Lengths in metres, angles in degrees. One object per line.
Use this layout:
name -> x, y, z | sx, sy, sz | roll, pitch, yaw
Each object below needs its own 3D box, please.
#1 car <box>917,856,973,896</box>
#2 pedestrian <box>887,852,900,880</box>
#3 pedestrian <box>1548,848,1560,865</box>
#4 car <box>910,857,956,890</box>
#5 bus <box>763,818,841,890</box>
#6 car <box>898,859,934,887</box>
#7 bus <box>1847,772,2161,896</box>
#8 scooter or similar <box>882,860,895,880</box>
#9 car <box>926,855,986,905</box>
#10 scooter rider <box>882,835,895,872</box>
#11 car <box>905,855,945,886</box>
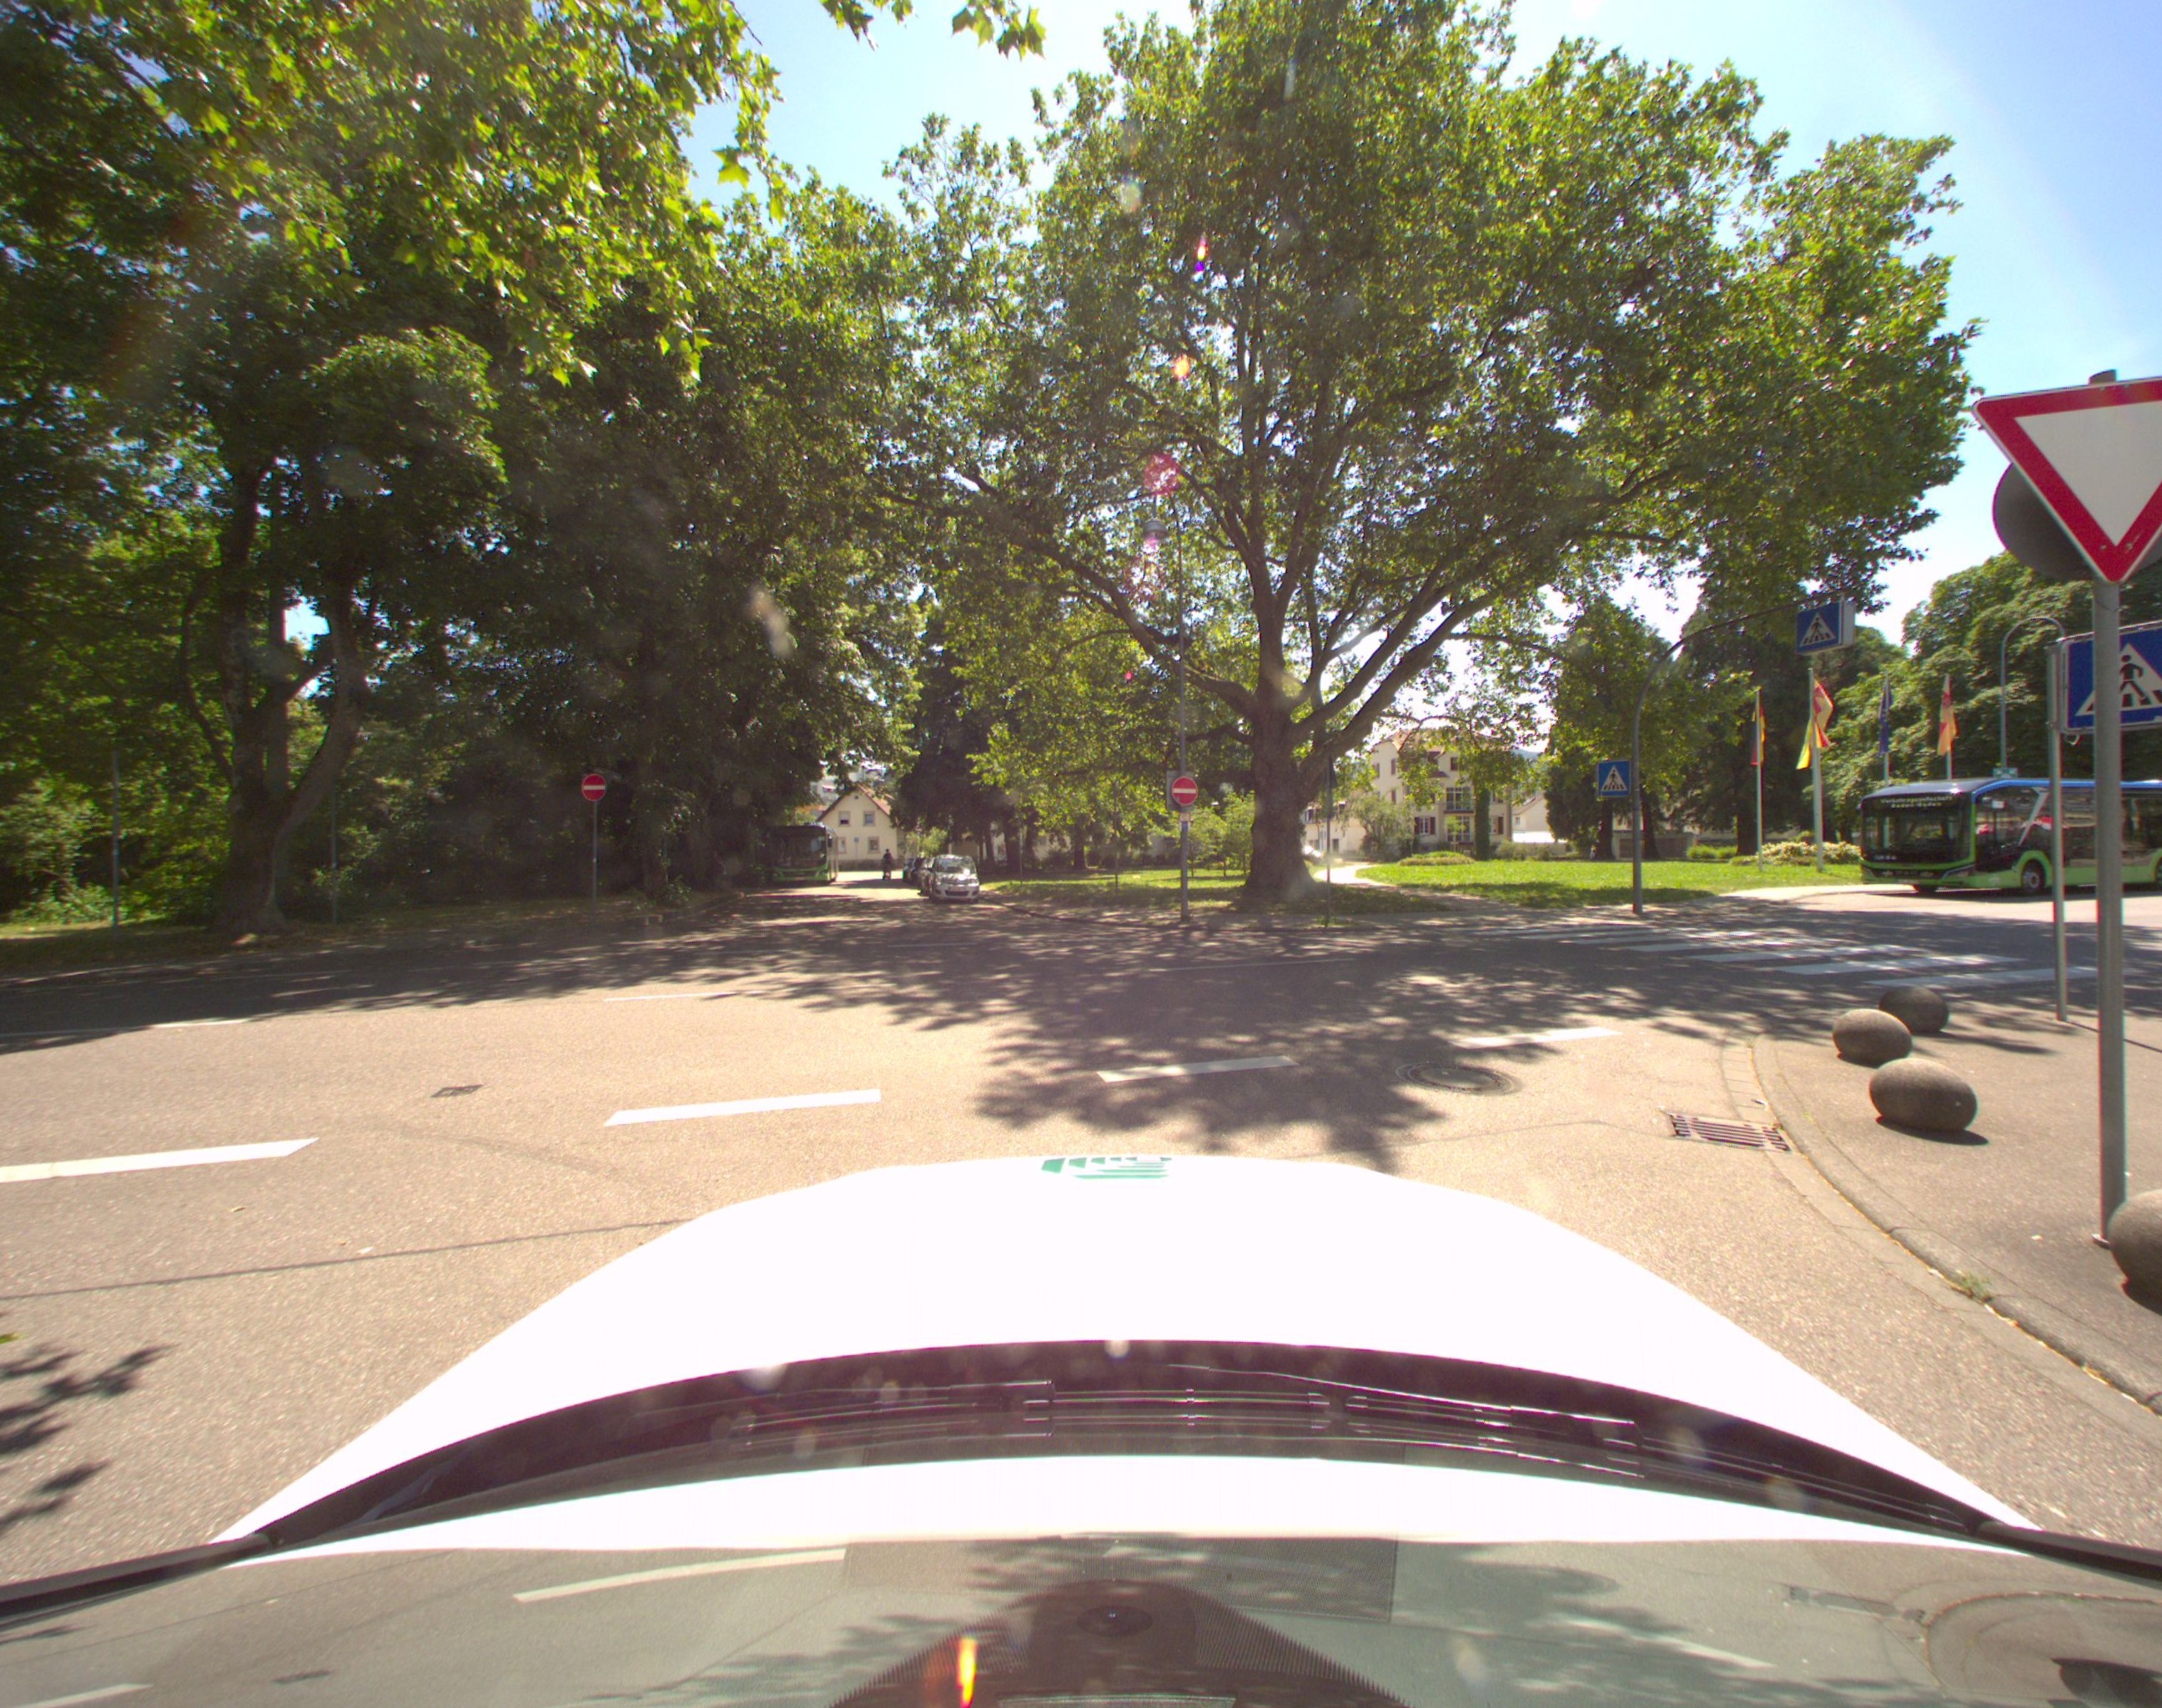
car -> -5.376, 0.796, 31.751 | 1.753, 1.439, 4.480 | 0, 0, -15
pedestrian -> -12.328, 0.771, 53.538 | 0.719, 1.802, 0.938 | -1, 0, -9
pedestrian -> 40.222, 0.224, 69.192 | 0.817, 1.370, 0.622 | 2, 2, 35
car -> -7.012, 0.860, 38.189 | 1.753, 1.439, 4.746 | -1, 0, -15
bus -> -15.145, 0.005, 45.387 | 2.873, 3.295, 15.871 | -1, 0, -15
car -> -9.533, 1.033, 46.886 | 1.757, 1.493, 3.898 | -1, 0, -15
bus -> 29.070, -0.651, 24.516 | 12.408, 3.283, 2.803 | -1, 0, -16
scooter or similar -> -11.957, 0.984, 50.558 | 0.739, 1.183, 1.512 | -1, 0, -14
car -> -4.130, 0.795, 26.530 | 1.597, 1.497, 3.468 | 0, 0, -15
scooter rider -> -11.975, -0.031, 50.568 | 0.739, 2.317, 0.922 | -1, 0, -14
car -> -8.236, 0.839, 42.757 | 1.757, 1.493, 4.353 | -1, 0, -15
